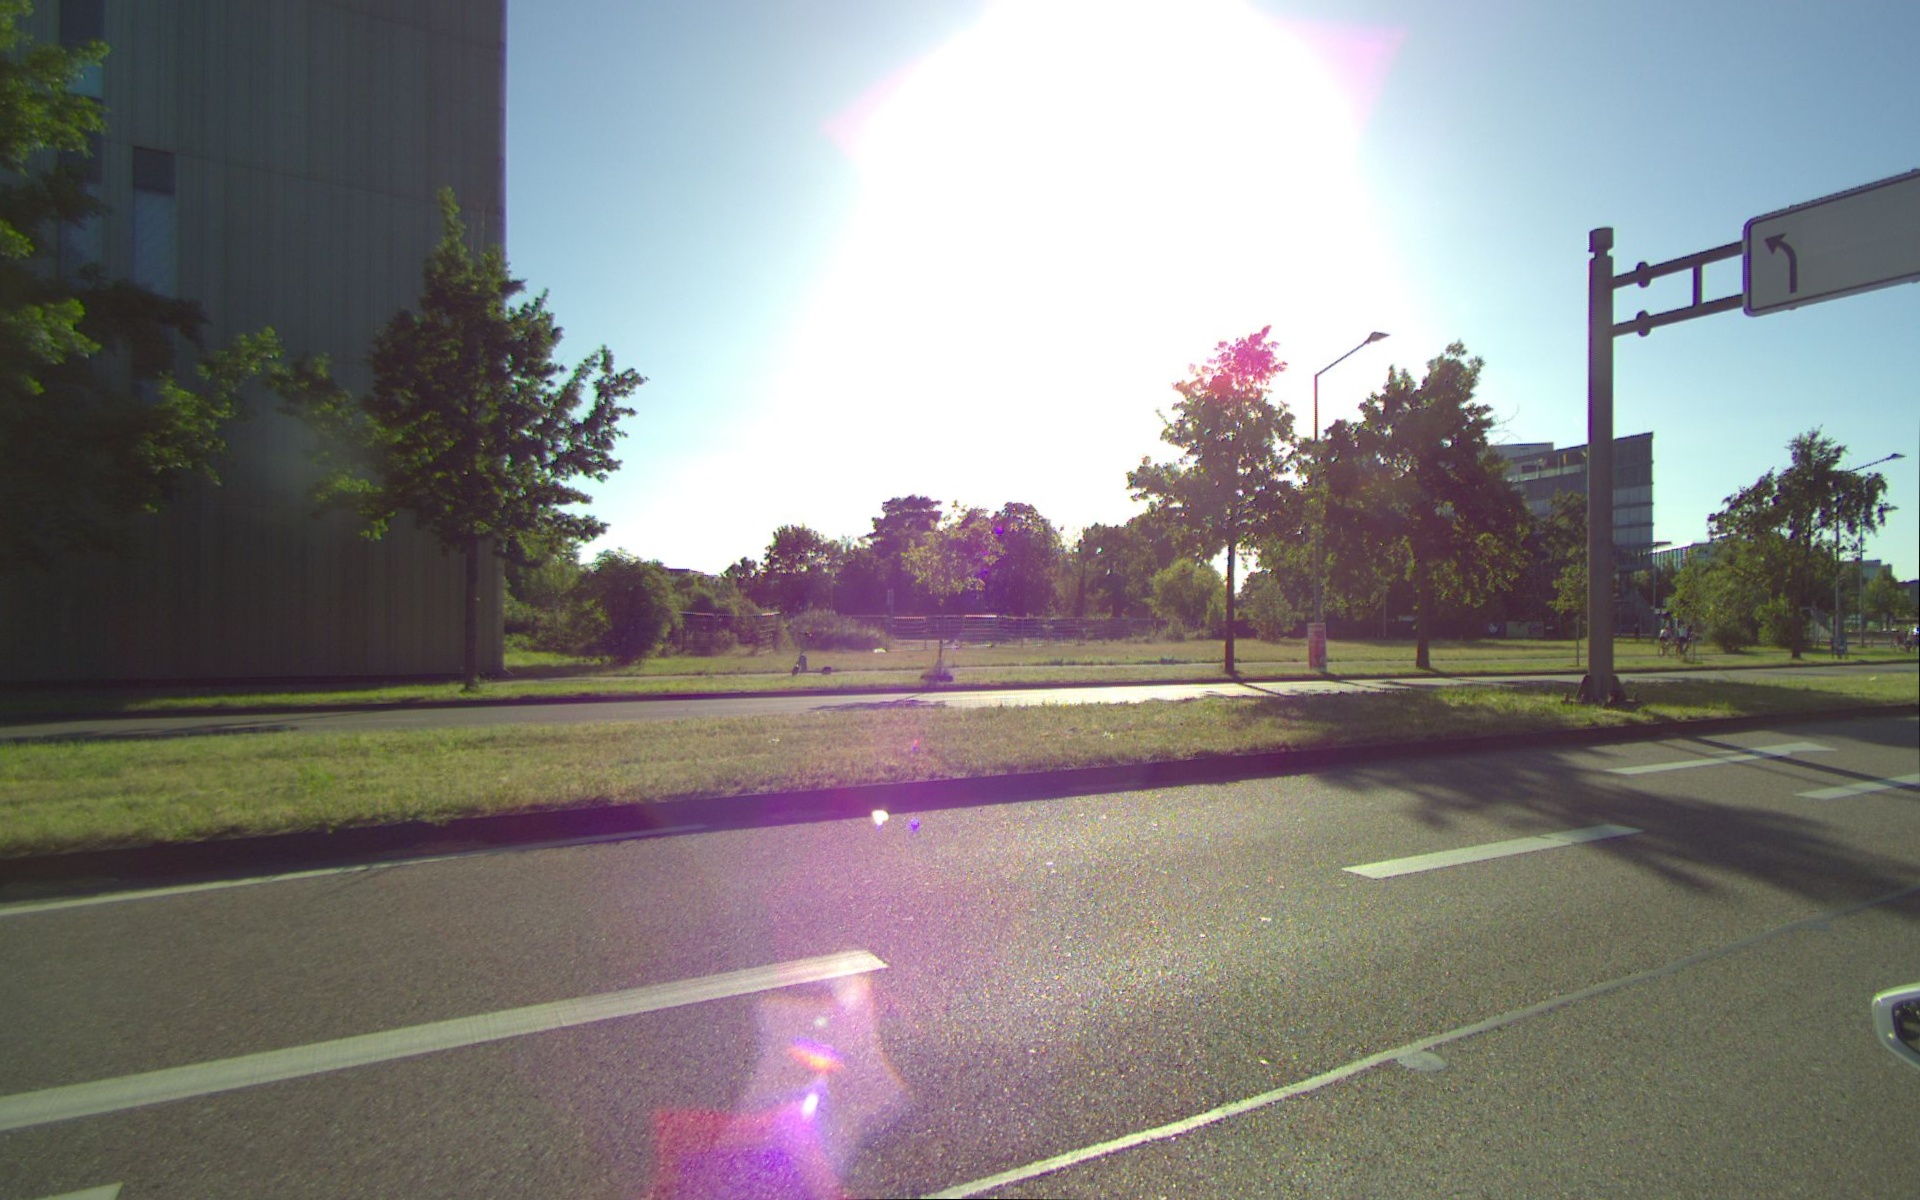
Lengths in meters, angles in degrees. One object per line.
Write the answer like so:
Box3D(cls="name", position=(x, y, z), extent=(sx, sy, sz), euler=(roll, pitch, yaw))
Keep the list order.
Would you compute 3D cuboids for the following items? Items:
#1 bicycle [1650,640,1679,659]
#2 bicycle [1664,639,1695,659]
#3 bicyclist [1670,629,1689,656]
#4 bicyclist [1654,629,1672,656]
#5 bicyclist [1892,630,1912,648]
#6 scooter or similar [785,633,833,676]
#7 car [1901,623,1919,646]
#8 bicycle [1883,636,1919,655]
Box3D(cls="bicycle", position=(37.710, 2.635, 53.751), extent=(2.072, 1.016, 0.484), euler=(1, -1, -31))
Box3D(cls="bicycle", position=(37.718, 2.584, 52.658), extent=(2.072, 1.016, 0.567), euler=(1, -1, -31))
Box3D(cls="bicyclist", position=(37.687, 2.229, 52.645), extent=(0.739, 1.410, 0.559), euler=(1, -1, -31))
Box3D(cls="bicyclist", position=(37.596, 2.281, 53.690), extent=(0.835, 1.413, 0.480), euler=(1, -1, -31))
Box3D(cls="bicyclist", position=(60.207, 2.495, 64.214), extent=(0.595, 1.122, 0.734), euler=(1, -1, -17))
Box3D(cls="scooter or similar", position=(-4.164, 1.495, 27.703), extent=(1.312, 1.164, 0.230), euler=(1, -1, -30))
Box3D(cls="car", position=(82.164, 2.929, 85.887), extent=(1.611, 1.901, 3.992), euler=(0, -2, 31))
Box3D(cls="bicycle", position=(60.210, 2.905, 64.203), extent=(0.595, 1.122, 1.726), euler=(1, -1, -16))
